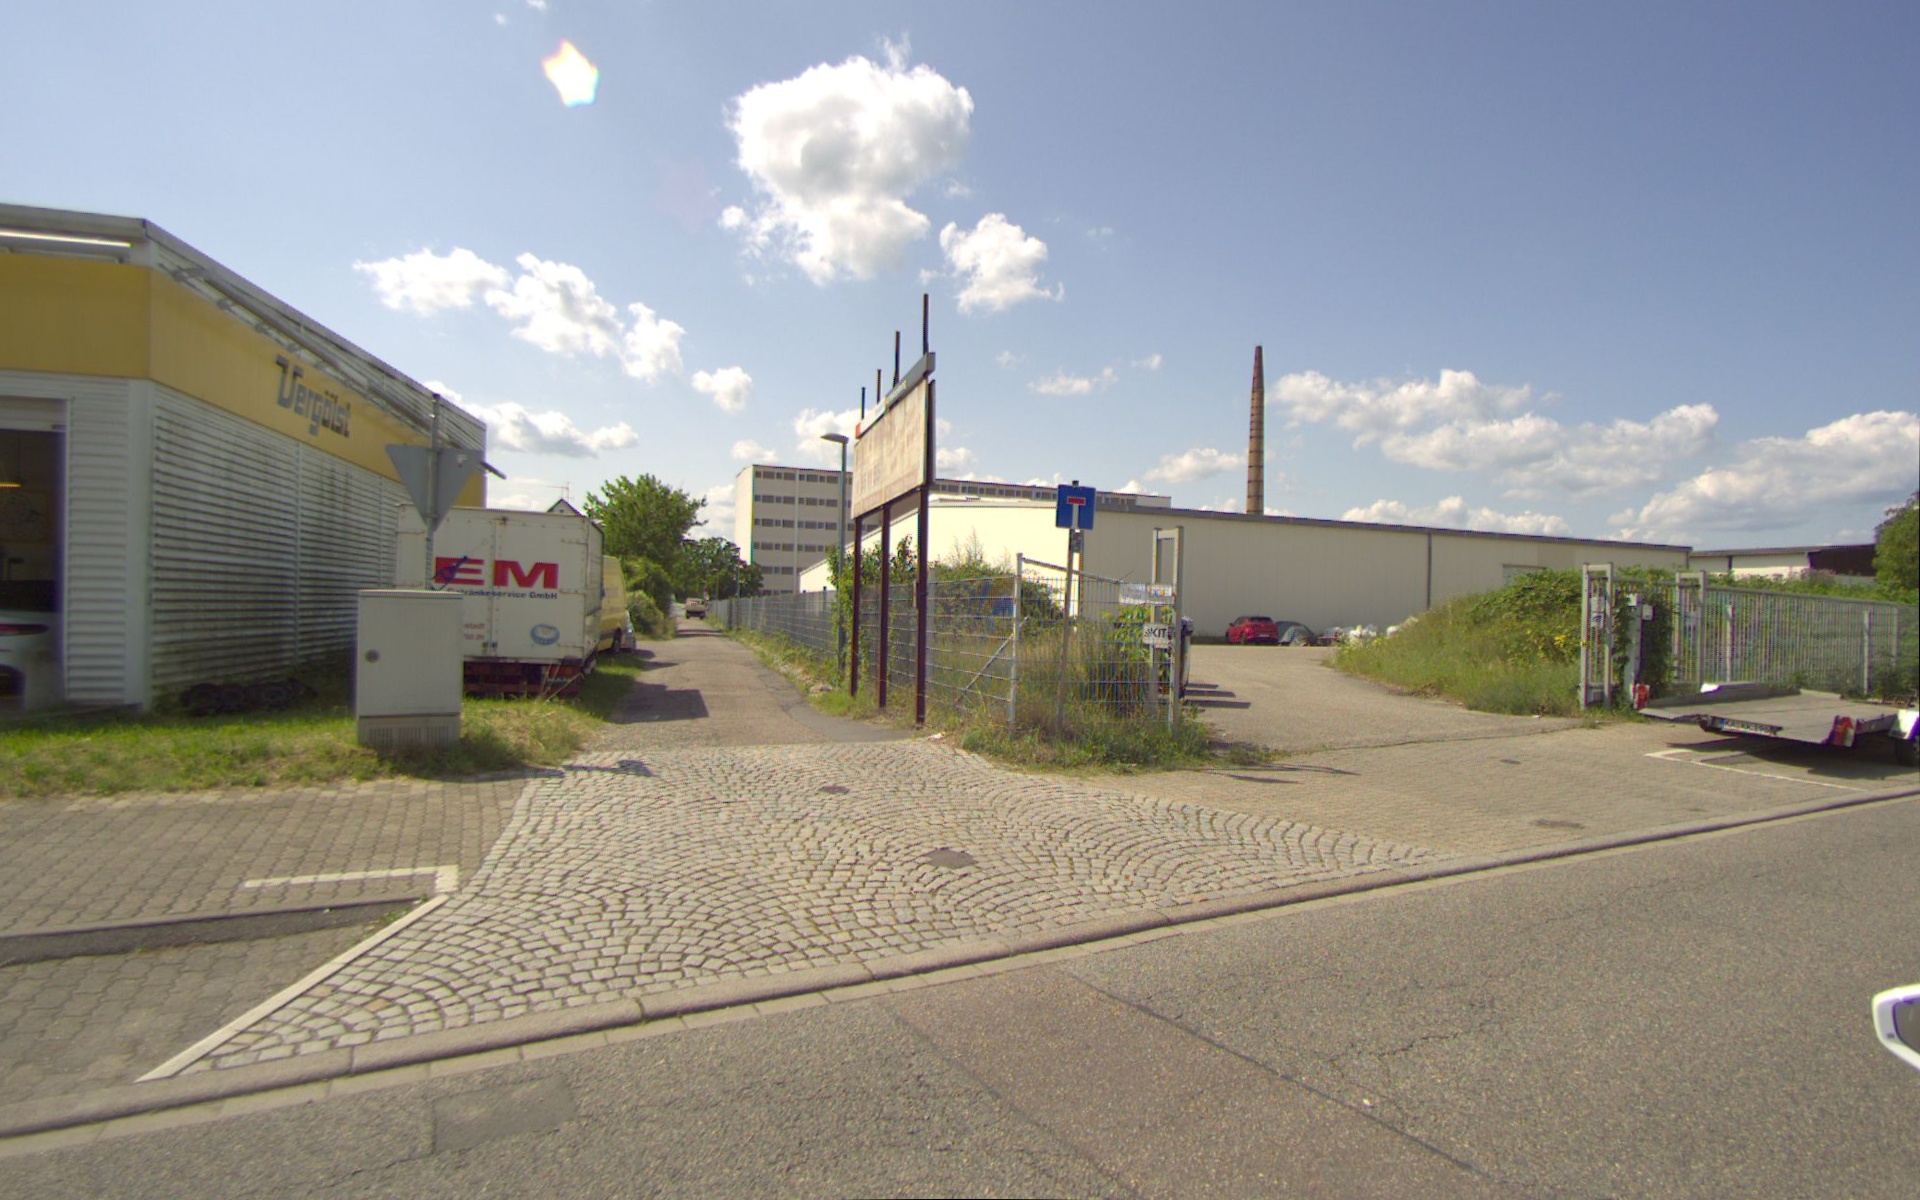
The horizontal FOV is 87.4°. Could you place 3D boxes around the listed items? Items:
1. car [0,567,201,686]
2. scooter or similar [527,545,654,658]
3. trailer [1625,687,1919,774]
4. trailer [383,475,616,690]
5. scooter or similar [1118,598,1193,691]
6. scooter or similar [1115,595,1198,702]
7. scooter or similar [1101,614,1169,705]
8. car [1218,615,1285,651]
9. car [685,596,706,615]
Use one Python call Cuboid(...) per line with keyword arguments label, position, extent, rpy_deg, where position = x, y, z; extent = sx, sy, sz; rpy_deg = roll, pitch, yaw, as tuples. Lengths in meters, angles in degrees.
Cuboid(label="car", position=(-12.471, 0.302, 13.775), extent=(1.946, 1.419, 3.986), rpy_deg=(2, 0, -16))
Cuboid(label="scooter or similar", position=(-9.396, 0.048, 26.043), extent=(1.964, 2.589, 5.477), rpy_deg=(1, 0, -9))
Cuboid(label="trailer", position=(10.708, 1.551, 12.635), extent=(4.393, 0.559, 2.224), rpy_deg=(2, 2, -31))
Cuboid(label="trailer", position=(-7.411, -0.224, 17.048), extent=(2.715, 2.890, 6.512), rpy_deg=(2, 0, -18))
Cuboid(label="scooter or similar", position=(3.529, 0.762, 18.049), extent=(1.147, 1.558, 1.450), rpy_deg=(2, 0, 17))
Cuboid(label="scooter or similar", position=(3.191, 0.753, 16.206), extent=(1.147, 1.608, 1.320), rpy_deg=(2, 0, 17))
Cuboid(label="scooter or similar", position=(2.653, 0.867, 15.156), extent=(0.864, 1.292, 0.898), rpy_deg=(2, 0, 17))
Cuboid(label="car", position=(14.173, 1.573, 48.997), extent=(1.961, 1.554, 3.999), rpy_deg=(2, 0, -2))
Cuboid(label="car", position=(-33.824, 0.739, 128.451), extent=(2.414, 2.332, 4.586), rpy_deg=(2, 0, -16))
